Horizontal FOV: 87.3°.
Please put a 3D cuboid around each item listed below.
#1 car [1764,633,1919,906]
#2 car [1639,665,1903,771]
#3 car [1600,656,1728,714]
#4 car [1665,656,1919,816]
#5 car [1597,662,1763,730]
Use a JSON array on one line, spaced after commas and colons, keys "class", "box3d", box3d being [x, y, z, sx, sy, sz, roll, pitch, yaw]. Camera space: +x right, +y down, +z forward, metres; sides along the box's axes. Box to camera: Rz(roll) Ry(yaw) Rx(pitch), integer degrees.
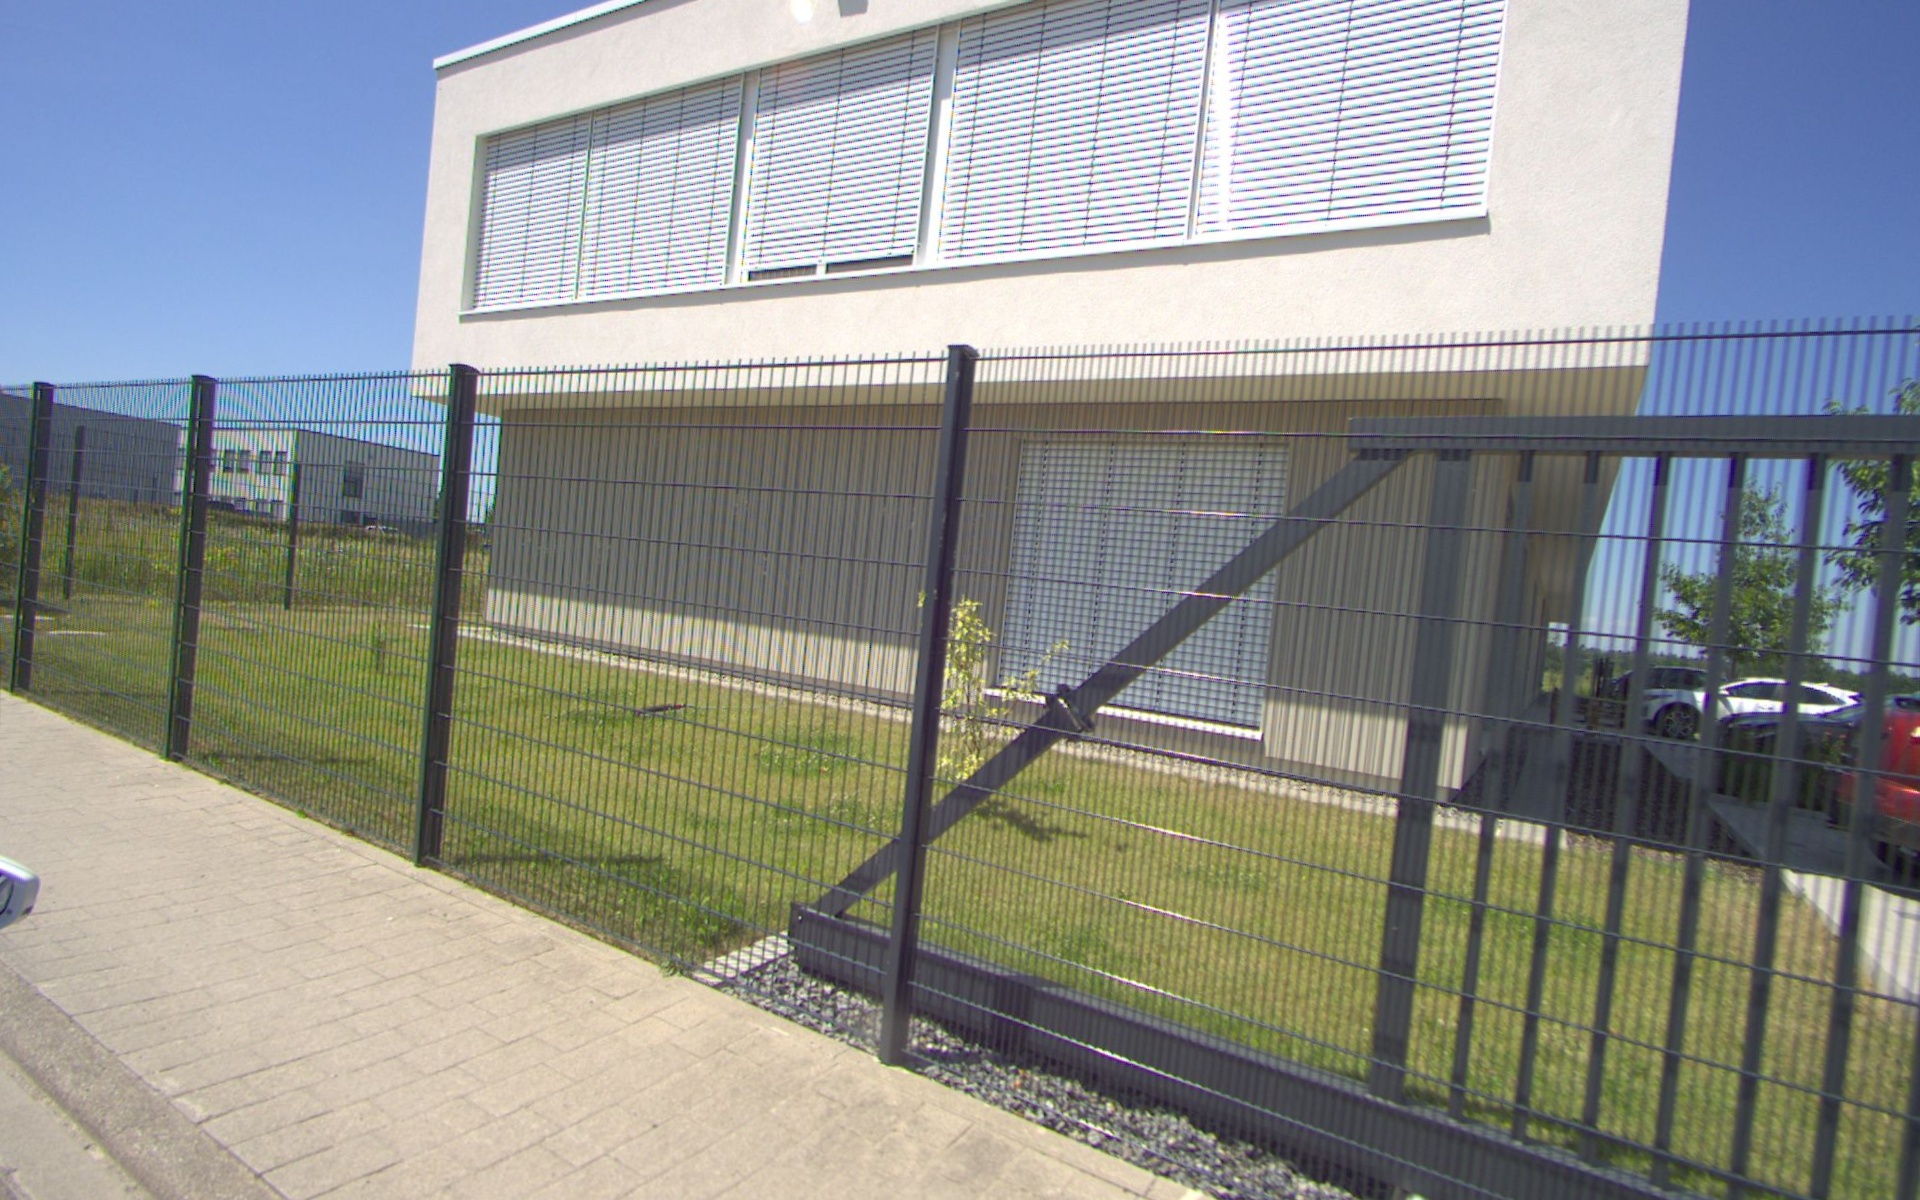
[{"class": "car", "box3d": [7.562, 1.269, 5.930, 4.007, 1.577, 1.671, 8, 1, 29]}, {"class": "car", "box3d": [16.588, 2.362, 20.843, 3.871, 1.450, 1.671, 8, 1, 29]}, {"class": "car", "box3d": [28.023, 3.354, 40.202, 3.871, 1.687, 1.671, 8, 1, 29]}, {"class": "car", "box3d": [10.694, 1.653, 11.833, 3.614, 1.450, 1.671, 8, 1, 29]}, {"class": "car", "box3d": [22.344, 2.944, 31.418, 3.871, 1.450, 1.671, 8, 1, 29]}]
